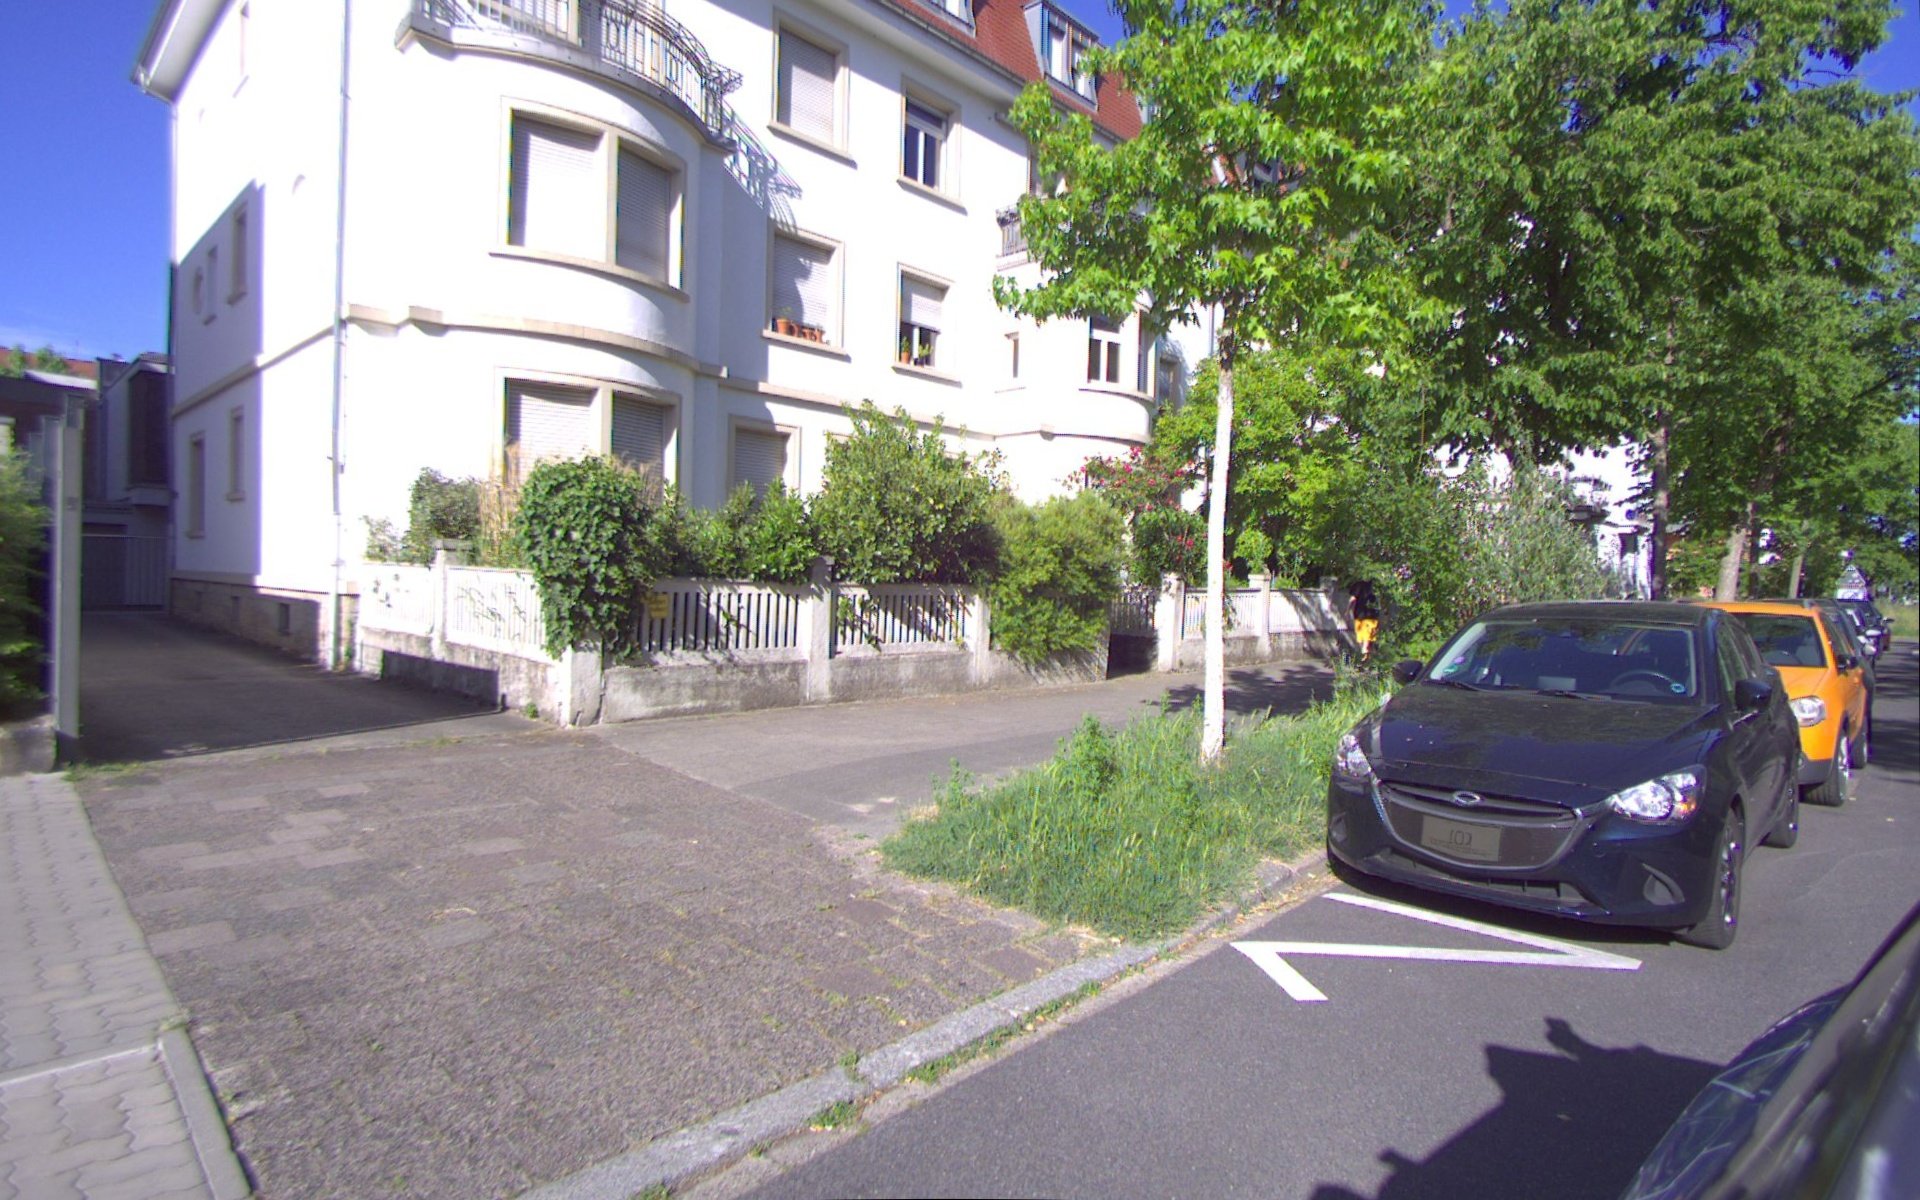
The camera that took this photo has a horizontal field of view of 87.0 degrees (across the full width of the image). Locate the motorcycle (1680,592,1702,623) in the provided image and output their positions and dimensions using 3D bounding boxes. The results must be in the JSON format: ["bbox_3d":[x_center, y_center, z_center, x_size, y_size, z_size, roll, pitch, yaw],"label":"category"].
[{"bbox_3d":[31.488,0.306,43.571,0.655,1.295,1.776,4,3,37],"label":"motorcycle"}]

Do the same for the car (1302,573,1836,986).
[{"bbox_3d":[3.677,0.644,5.745,1.701,1.467,4.017,3,2,44],"label":"car"}]

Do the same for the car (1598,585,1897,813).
[{"bbox_3d":[6.978,0.655,8.798,1.637,1.473,4.035,3,2,43],"label":"car"}]

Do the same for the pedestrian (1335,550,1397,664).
[{"bbox_3d":[6.631,0.104,16.523,0.622,1.796,0.787,3,2,44],"label":"pedestrian"}]

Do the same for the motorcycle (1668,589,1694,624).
[{"bbox_3d":[29.866,0.259,41.908,0.539,1.378,2.056,2,1,43],"label":"motorcycle"}]

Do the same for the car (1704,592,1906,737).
[{"bbox_3d":[10.390,0.663,12.429,1.648,1.446,3.558,3,2,42],"label":"car"}]

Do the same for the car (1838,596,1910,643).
[{"bbox_3d":[31.075,0.619,34.489,1.609,1.427,4.288,2,2,40],"label":"car"}]

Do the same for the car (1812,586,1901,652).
[{"bbox_3d":[26.174,0.507,29.511,1.781,1.719,4.230,3,2,43],"label":"car"}]

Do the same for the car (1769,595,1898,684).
[{"bbox_3d":[16.898,0.675,19.506,1.630,1.442,4.299,3,2,44],"label":"car"}]

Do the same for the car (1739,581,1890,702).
[{"bbox_3d":[13.690,0.575,16.253,1.647,1.676,3.790,2,1,40],"label":"car"}]

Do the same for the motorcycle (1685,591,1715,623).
[{"bbox_3d":[32.812,0.293,44.850,0.969,1.345,1.827,2,1,38],"label":"motorcycle"}]

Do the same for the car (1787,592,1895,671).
[{"bbox_3d":[19.929,0.639,22.869,1.683,1.608,4.466,-1,0,42],"label":"car"}]
